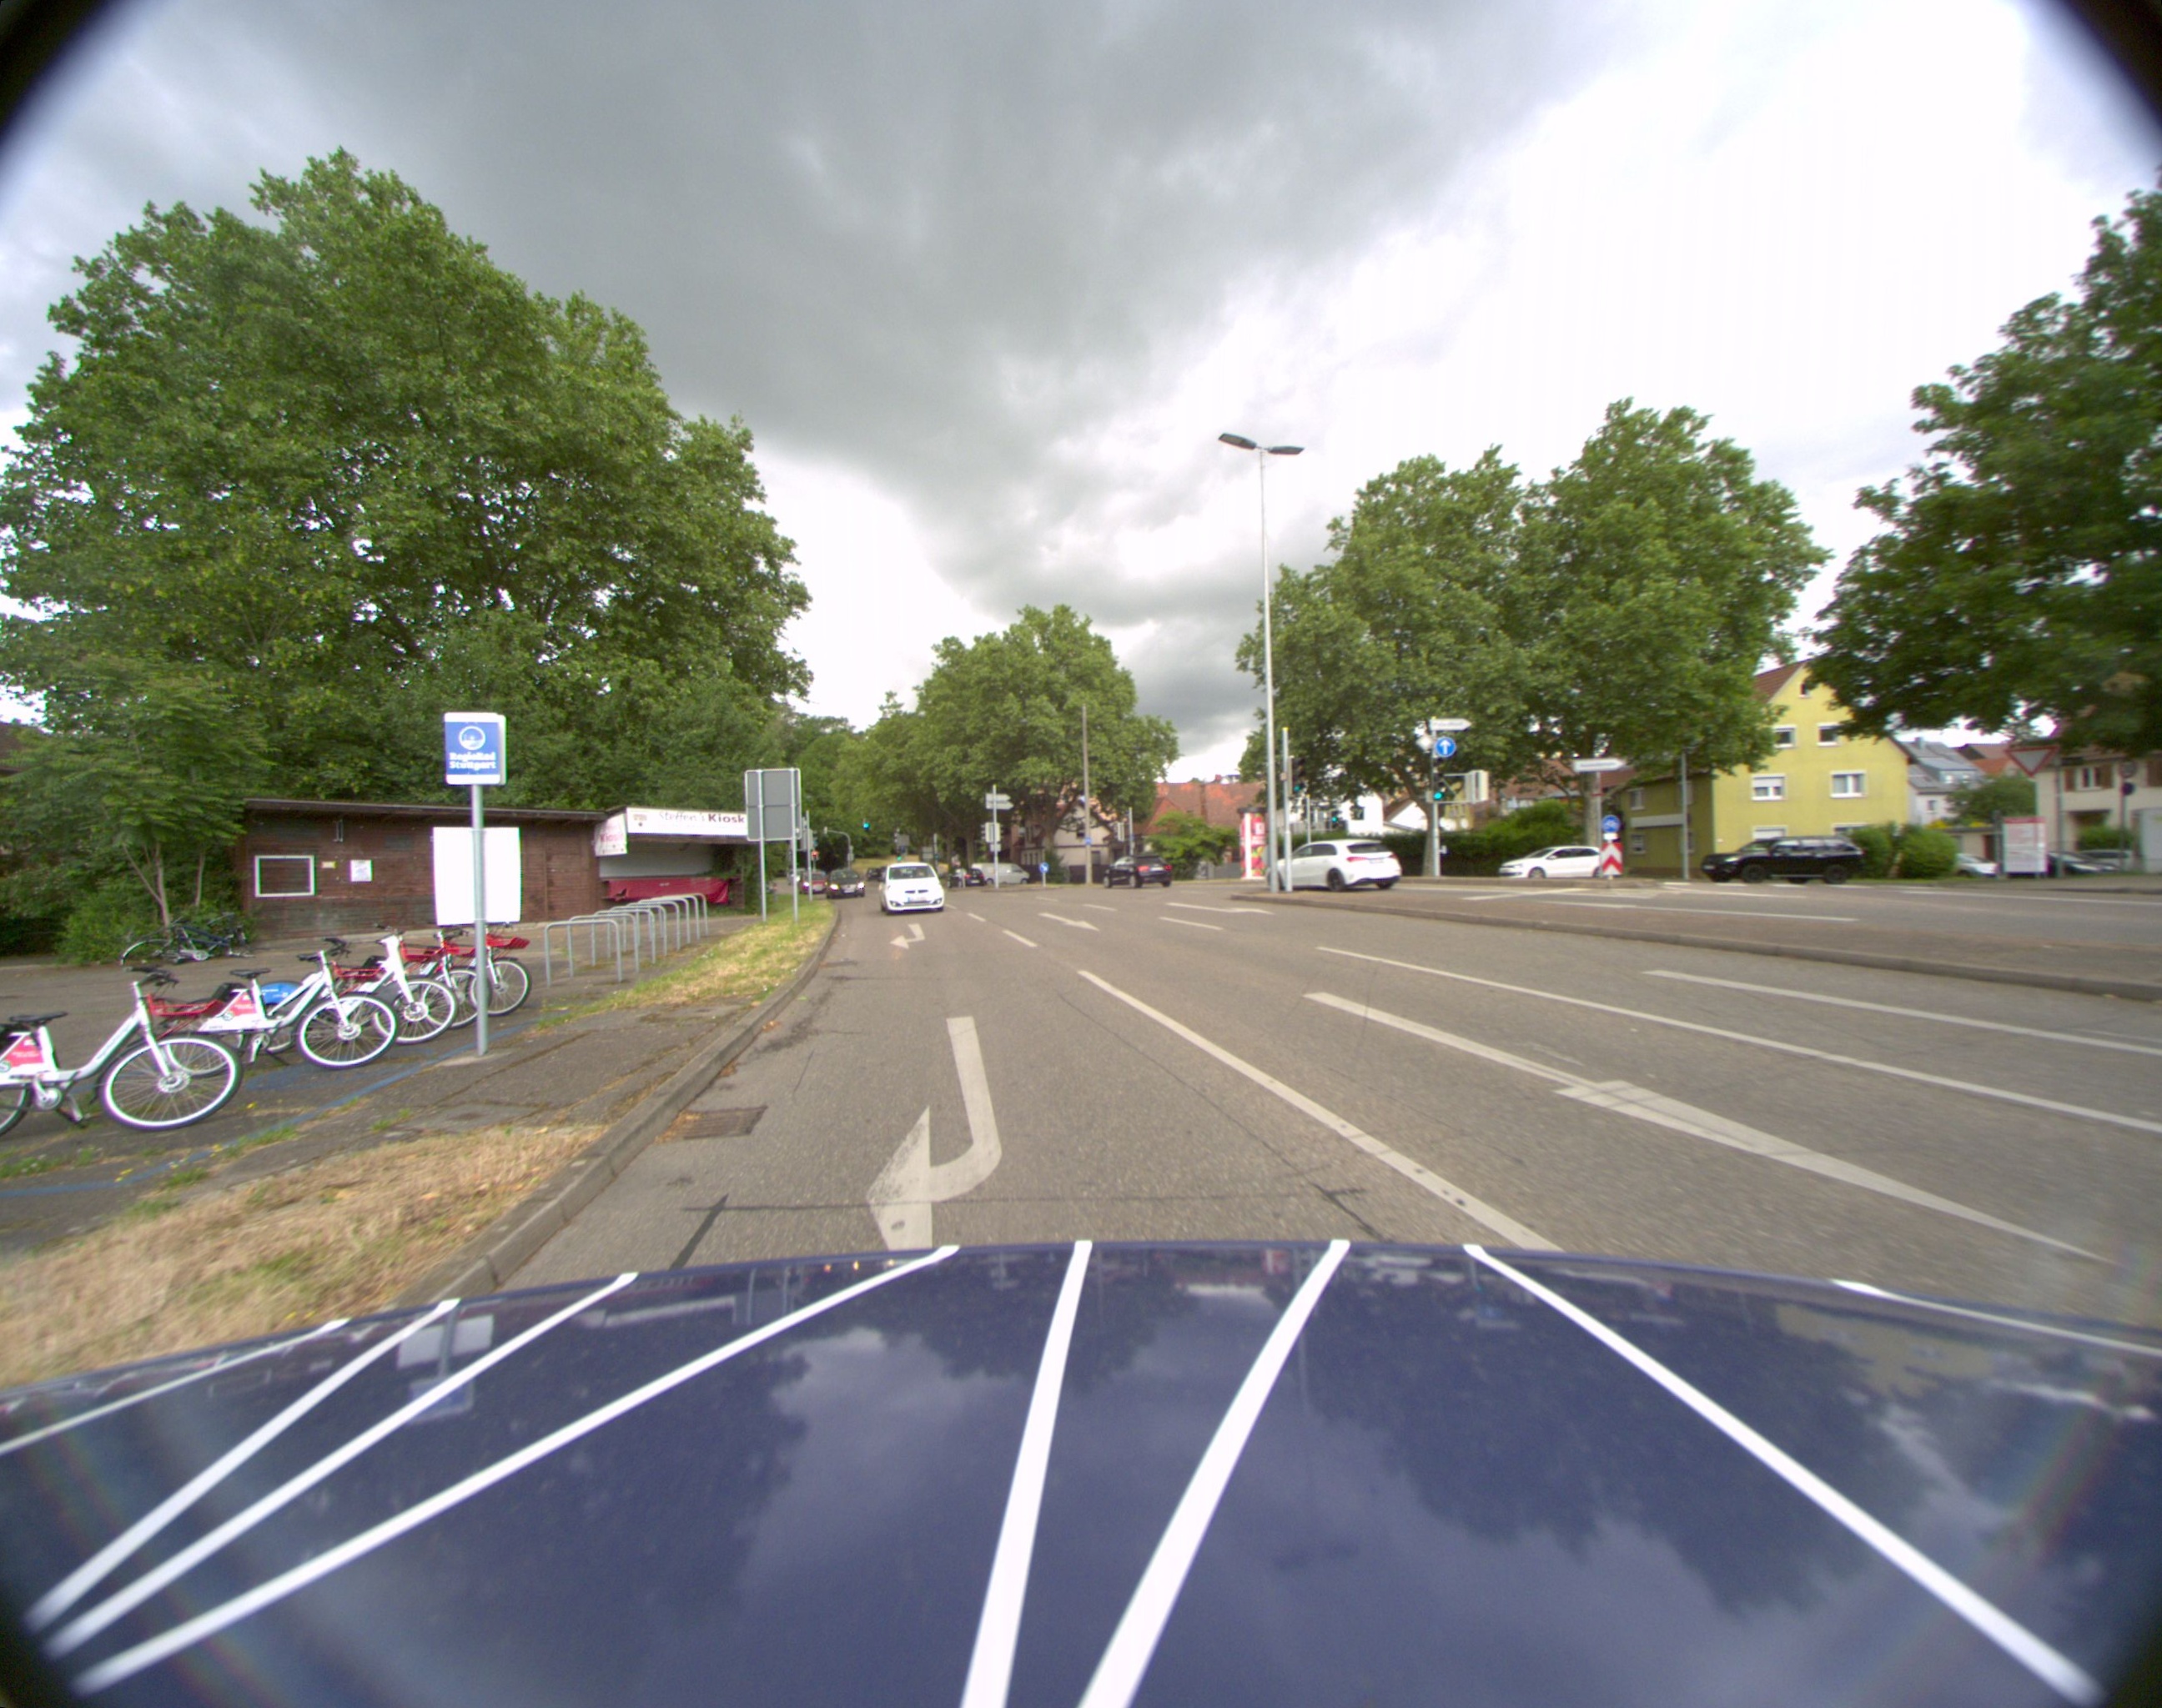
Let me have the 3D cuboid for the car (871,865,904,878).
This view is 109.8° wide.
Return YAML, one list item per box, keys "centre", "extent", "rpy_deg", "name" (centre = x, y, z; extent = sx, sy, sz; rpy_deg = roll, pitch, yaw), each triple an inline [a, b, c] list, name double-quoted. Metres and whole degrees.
- centre: [-22.150, 2.001, 86.770]
  extent: [3.489, 1.205, 1.593]
  rpy_deg: [-3, 0, -19]
  name: "car"

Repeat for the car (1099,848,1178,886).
- centre: [2.363, 0.549, 32.240]
  extent: [1.733, 1.439, 3.994]
  rpy_deg: [-3, 0, -21]
  name: "car"

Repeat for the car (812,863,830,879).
- centre: [-28.621, 1.834, 83.622]
  extent: [1.675, 1.607, 3.632]
  rpy_deg: [-3, 1, -20]
  name: "car"

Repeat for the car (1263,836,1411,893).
- centre: [7.088, 0.308, 21.513]
  extent: [1.813, 1.331, 4.112]
  rpy_deg: [-4, 0, -18]
  name: "car"

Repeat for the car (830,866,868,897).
- centre: [-12.897, 1.506, 42.084]
  extent: [1.723, 1.522, 4.180]
  rpy_deg: [-3, 0, -21]
  name: "car"

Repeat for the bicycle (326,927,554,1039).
- centre: [-7.180, 1.425, 8.591]
  extent: [1.883, 1.046, 0.597]
  rpy_deg: [-2, 1, -8]
  name: "bicycle"

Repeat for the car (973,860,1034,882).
- centre: [-6.499, 1.381, 63.946]
  extent: [4.899, 1.689, 1.727]
  rpy_deg: [-1, 1, -37]
  name: "car"

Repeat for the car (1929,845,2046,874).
- centre: [45.993, 0.269, 38.688]
  extent: [1.728, 1.334, 3.809]
  rpy_deg: [-2, -1, 9]
  name: "car"

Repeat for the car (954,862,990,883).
- centre: [-7.741, 1.294, 53.578]
  extent: [1.676, 1.306, 3.633]
  rpy_deg: [-2, 0, -21]
  name: "car"

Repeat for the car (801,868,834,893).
- centre: [-19.955, 1.964, 57.373]
  extent: [1.899, 1.607, 4.499]
  rpy_deg: [-3, 1, -24]
  name: "car"

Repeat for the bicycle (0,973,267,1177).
- centre: [-6.802, 1.467, 5.053]
  extent: [1.815, 1.110, 0.581]
  rpy_deg: [-3, 2, -13]
  name: "bicycle"

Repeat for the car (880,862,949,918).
- centre: [-5.061, 1.011, 22.776]
  extent: [1.675, 1.439, 3.600]
  rpy_deg: [-3, 0, -16]
  name: "car"

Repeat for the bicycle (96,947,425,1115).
- centre: [-6.830, 1.445, 6.429]
  extent: [1.815, 1.110, 0.581]
  rpy_deg: [-3, 2, -13]
  name: "bicycle"

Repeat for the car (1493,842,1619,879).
- centre: [18.733, 0.254, 30.119]
  extent: [3.799, 1.312, 1.813]
  rpy_deg: [-2, 0, 3]
  name: "car"

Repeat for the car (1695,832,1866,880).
- centre: [26.770, 0.086, 29.237]
  extent: [4.585, 1.642, 1.814]
  rpy_deg: [-2, 0, 9]
  name: "car"

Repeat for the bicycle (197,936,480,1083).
- centre: [-6.936, 1.425, 7.197]
  extent: [1.815, 1.110, 0.581]
  rpy_deg: [-3, 2, -13]
  name: "bicycle"

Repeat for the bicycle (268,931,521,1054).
- centre: [-7.075, 1.413, 7.912]
  extent: [1.883, 1.046, 0.597]
  rpy_deg: [-2, 1, -8]
  name: "bicycle"
